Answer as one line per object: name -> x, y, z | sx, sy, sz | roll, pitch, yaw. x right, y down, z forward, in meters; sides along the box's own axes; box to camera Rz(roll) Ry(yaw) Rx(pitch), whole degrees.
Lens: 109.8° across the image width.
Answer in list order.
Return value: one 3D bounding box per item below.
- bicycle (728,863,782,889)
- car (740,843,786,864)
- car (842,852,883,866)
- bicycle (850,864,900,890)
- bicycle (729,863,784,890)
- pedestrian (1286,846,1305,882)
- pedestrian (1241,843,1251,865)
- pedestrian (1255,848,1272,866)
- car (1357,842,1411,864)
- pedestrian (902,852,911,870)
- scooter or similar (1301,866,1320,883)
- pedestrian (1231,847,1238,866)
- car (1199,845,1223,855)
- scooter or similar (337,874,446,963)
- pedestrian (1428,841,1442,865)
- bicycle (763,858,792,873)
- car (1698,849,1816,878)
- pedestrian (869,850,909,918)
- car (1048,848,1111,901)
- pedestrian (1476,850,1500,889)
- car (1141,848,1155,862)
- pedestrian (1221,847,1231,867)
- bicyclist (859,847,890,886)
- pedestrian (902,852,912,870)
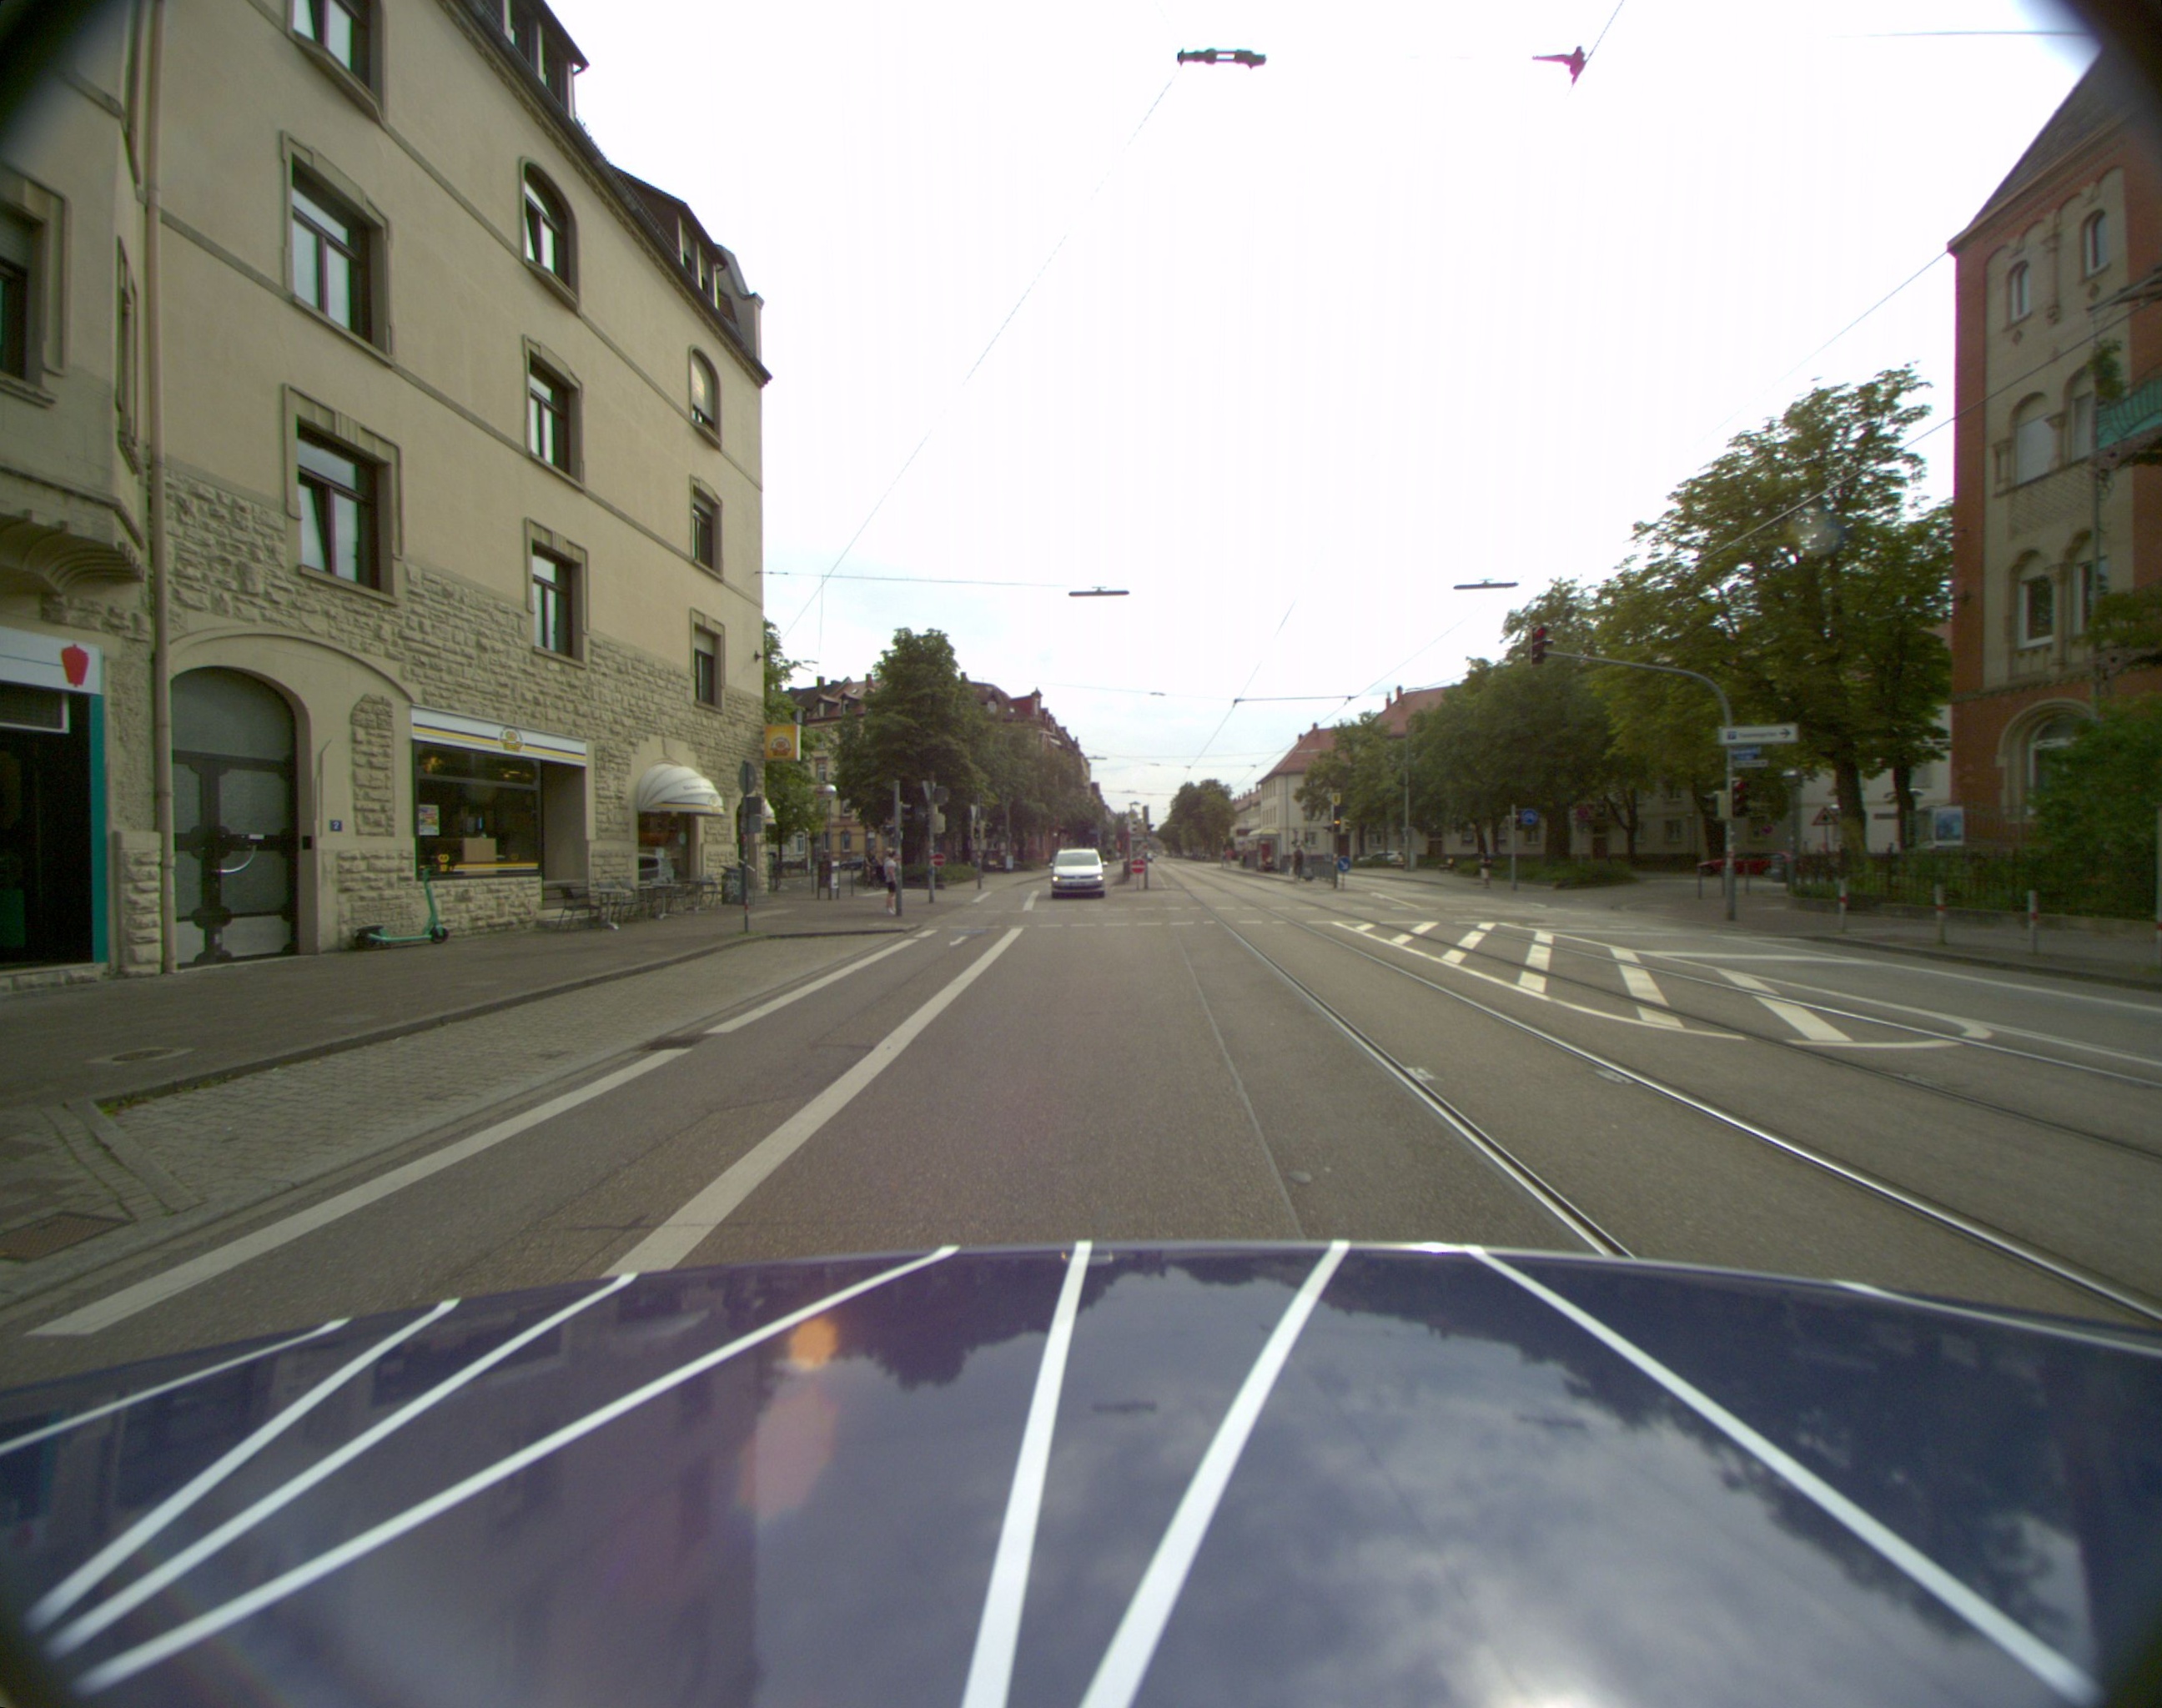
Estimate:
bicycle -> -13.302, 0.887, 31.064 | 0.481, 1.032, 2.053 | -1, -1, 35
car -> -33.696, -0.011, 80.601 | 4.534, 2.104, 1.742 | -1, 1, 23
car -> -21.188, 0.450, 73.703 | 3.580, 1.259, 1.742 | -1, 1, 28
bicycle -> -9.039, 0.992, 33.241 | 0.888, 1.039, 3.088 | -1, 1, -40
bicycle -> -12.913, 0.877, 30.274 | 0.481, 1.032, 2.053 | -1, -1, 35
pedestrian -> 10.062, 0.462, 35.617 | 0.684, 1.681, 0.815 | 0, 1, 3
pedestrian -> 13.074, -0.027, 60.227 | 0.588, 1.694, 0.619 | -2, 1, 1
pedestrian -> 12.569, 0.218, 52.342 | 1.032, 1.229, 0.724 | -2, 1, 3
car -> 27.449, -0.084, 68.856 | 4.187, 1.854, 1.857 | -1, 1, 39
pedestrian -> -16.711, 0.684, 72.748 | 0.612, 1.684, 0.641 | -1, 1, 0
scooter or similar -> 10.543, 0.938, 34.950 | 0.669, 0.708, 0.604 | 1, 1, 36
pedestrian -> 13.930, 0.264, 68.947 | 0.501, 1.694, 0.402 | -2, 1, -9
car -> 22.301, -0.690, 130.358 | 3.995, 1.716, 1.877 | -2, 1, 7
scooter or similar -> -9.821, 0.889, 10.864 | 0.398, 1.161, 1.197 | 2, 1, 5
pedestrian -> 29.798, -0.091, 63.945 | 0.862, 2.002, 0.766 | -1, 1, 39
bicycle -> -21.474, 0.780, 53.772 | 1.793, 1.032, 0.482 | -1, 0, -8
car -> 35.411, 0.469, 39.907 | 1.706, 1.397, 4.301 | -1, 1, -28
pedestrian -> -4.891, 0.745, 19.393 | 0.721, 1.651, 0.759 | 3, 1, 1
car -> 0.033, 0.645, 27.053 | 1.766, 1.661, 4.330 | -2, 0, 5
pedestrian -> 17.490, 0.661, 32.680 | 0.654, 1.681, 0.712 | -1, 1, 1
car -> 10.339, 0.096, 117.056 | 1.997, 2.002, 4.001 | -2, 1, 6
pedestrian -> 13.159, 0.293, 68.991 | 0.658, 1.824, 0.464 | -2, 1, -9
bicyclist -> -9.037, 0.533, 33.229 | 0.841, 1.680, 1.243 | -1, 0, -39
pedestrian -> -16.858, 0.671, 73.719 | 0.789, 1.684, 0.779 | -1, 1, 2
